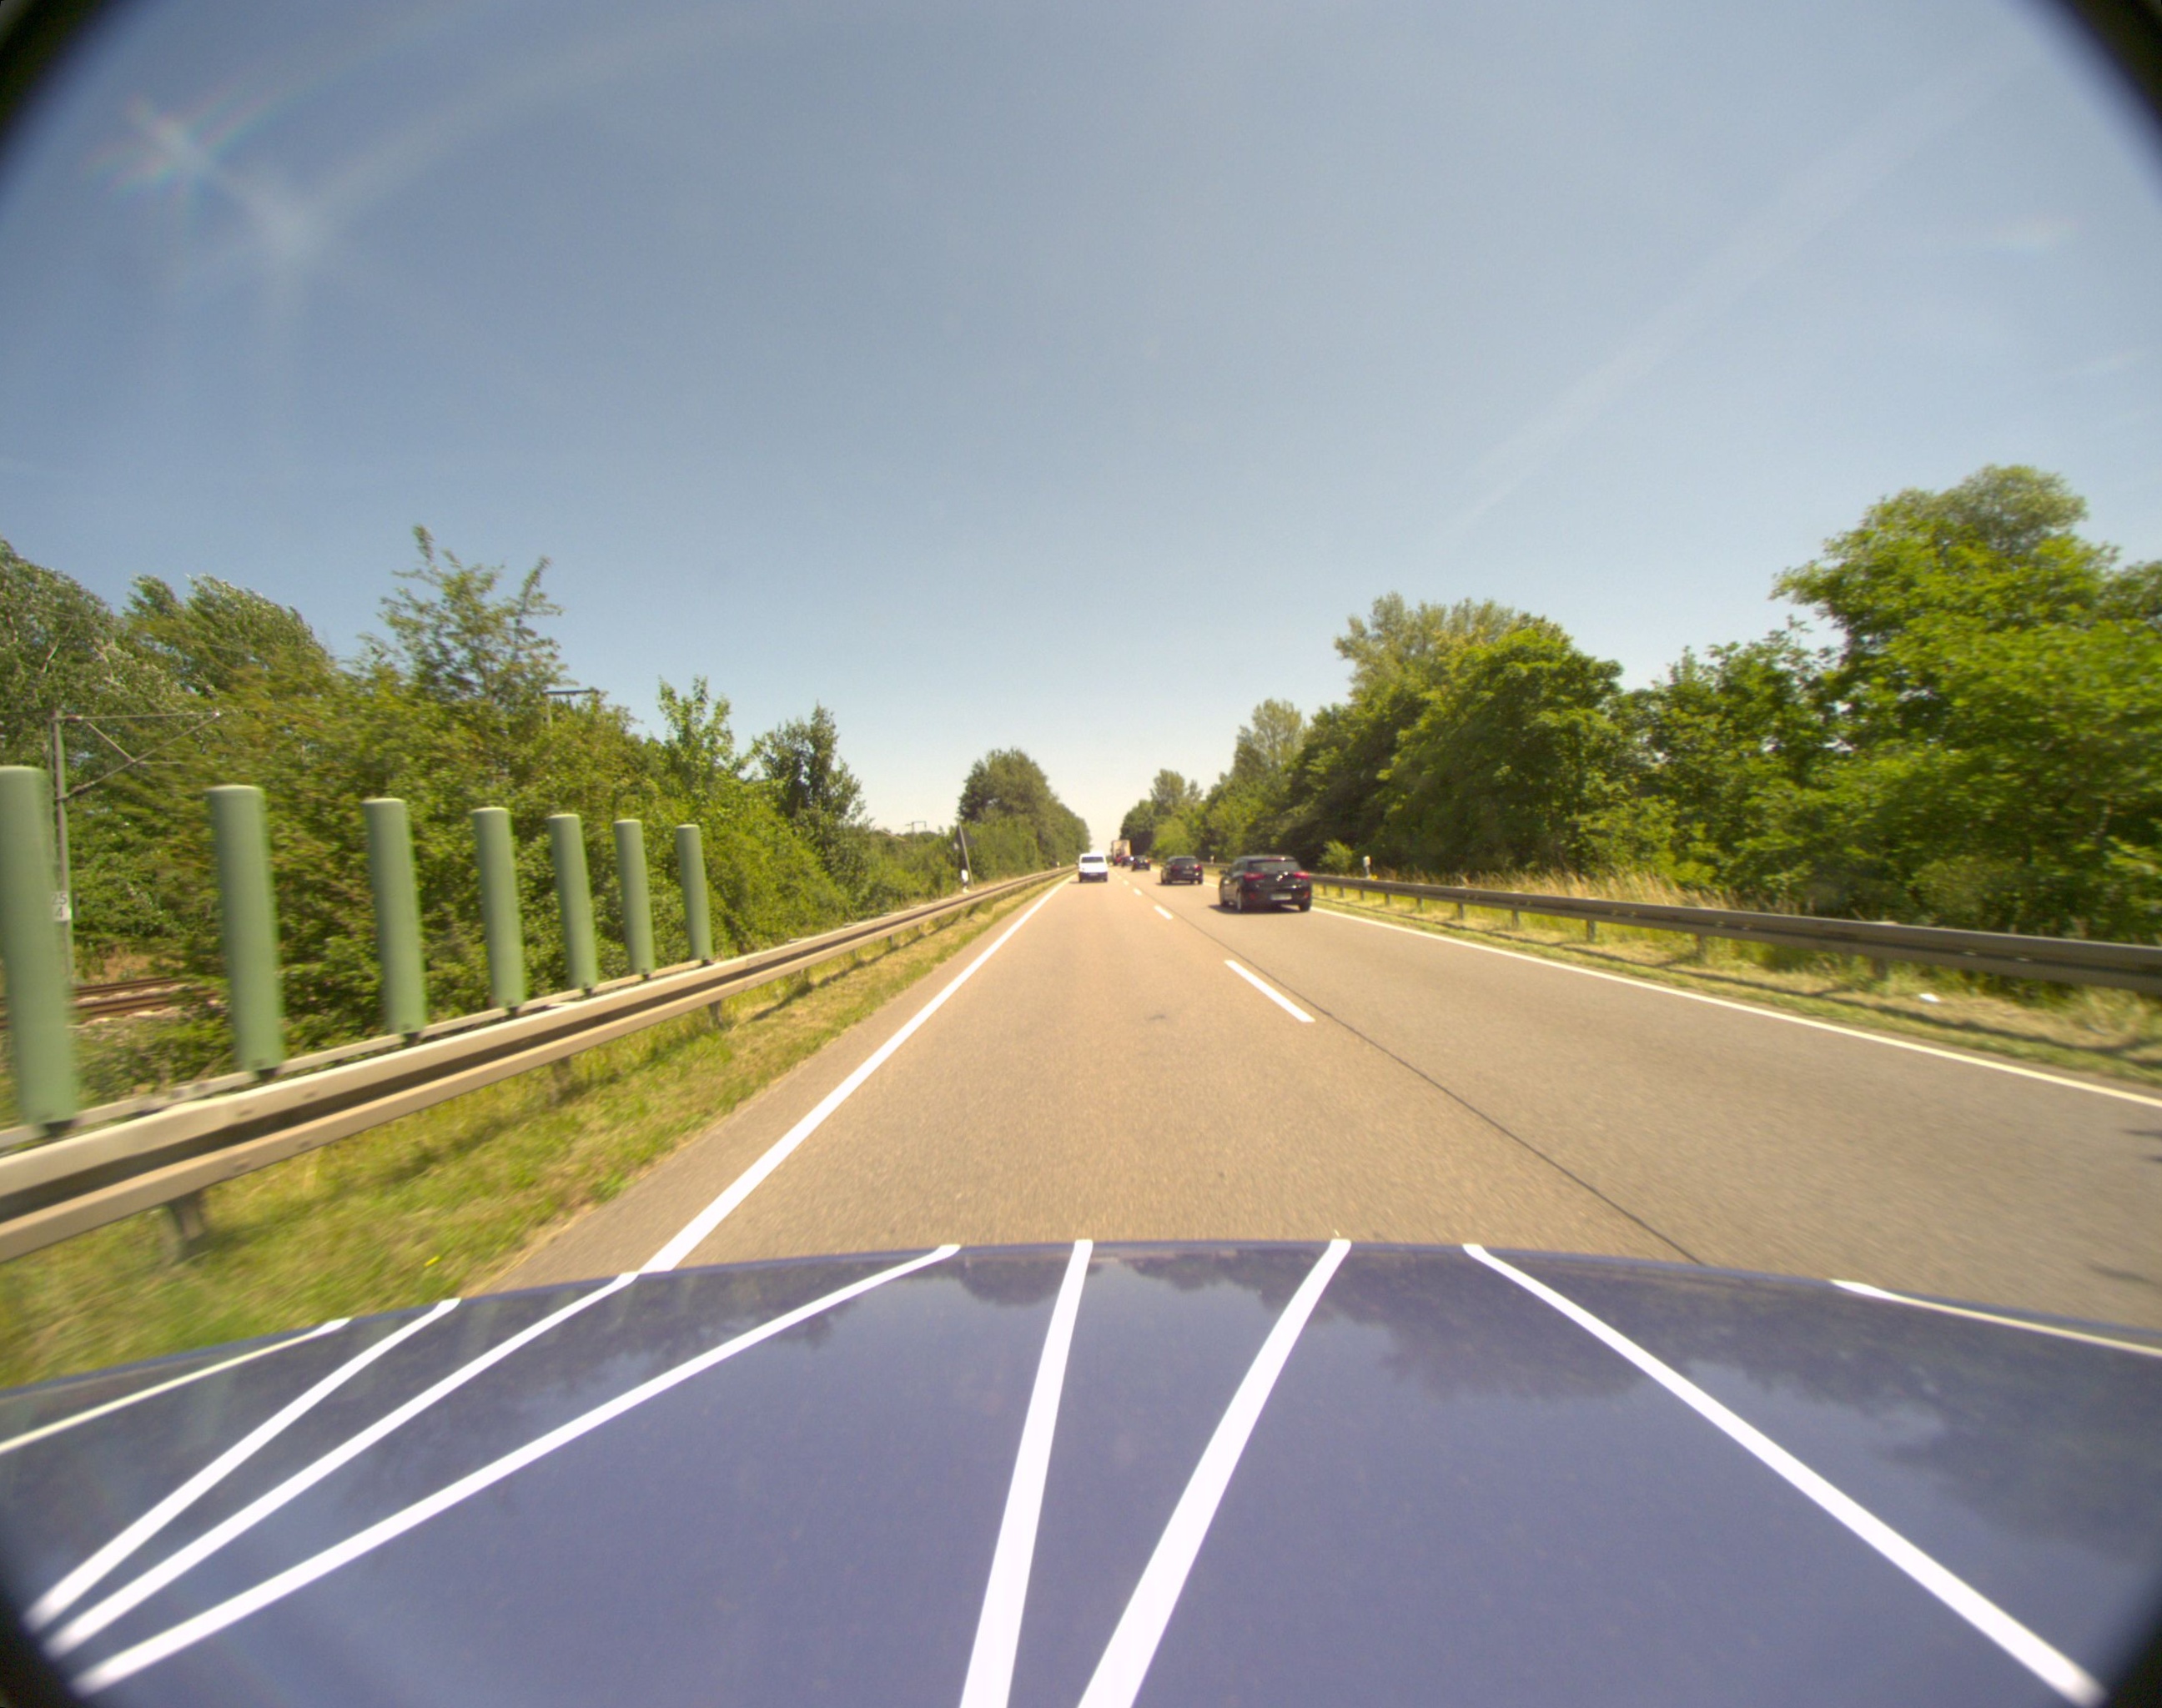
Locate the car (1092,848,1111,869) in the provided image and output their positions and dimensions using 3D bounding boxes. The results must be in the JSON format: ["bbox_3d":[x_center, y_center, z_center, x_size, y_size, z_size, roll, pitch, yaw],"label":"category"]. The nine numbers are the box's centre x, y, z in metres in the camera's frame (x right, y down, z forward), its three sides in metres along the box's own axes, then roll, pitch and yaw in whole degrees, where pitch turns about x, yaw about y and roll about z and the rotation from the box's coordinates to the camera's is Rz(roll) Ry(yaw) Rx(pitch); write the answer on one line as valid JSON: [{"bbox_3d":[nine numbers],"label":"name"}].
[{"bbox_3d":[2.103,0.432,78.151,1.782,1.960,4.107,-5,-1,2],"label":"car"}]

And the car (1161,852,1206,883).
[{"bbox_3d":[5.273,0.675,39.433,1.849,1.488,4.000,-2,0,1],"label":"car"}]

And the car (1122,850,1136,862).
[{"bbox_3d":[6.198,0.284,98.144,1.638,1.429,4.180,-2,0,1],"label":"car"}]

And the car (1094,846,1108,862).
[{"bbox_3d":[2.929,0.010,112.334,1.782,2.286,4.107,-5,-1,2],"label":"car"}]

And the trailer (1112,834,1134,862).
[{"bbox_3d":[6.745,-0.943,123.379,2.769,3.976,13.686,-5,0,1],"label":"trailer"}]

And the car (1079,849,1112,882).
[{"bbox_3d":[0.906,0.689,45.742,1.782,1.743,4.513,-3,-1,2],"label":"car"}]

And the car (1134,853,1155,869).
[{"bbox_3d":[6.179,0.651,74.153,1.638,1.429,4.414,-2,0,0],"label":"car"}]

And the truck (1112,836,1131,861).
[{"bbox_3d":[6.953,-0.976,130.602,2.769,3.976,5.907,-5,0,1],"label":"truck"}]

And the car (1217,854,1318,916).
[{"bbox_3d":[4.887,0.744,20.443,1.805,1.446,4.000,-2,0,1],"label":"car"}]
